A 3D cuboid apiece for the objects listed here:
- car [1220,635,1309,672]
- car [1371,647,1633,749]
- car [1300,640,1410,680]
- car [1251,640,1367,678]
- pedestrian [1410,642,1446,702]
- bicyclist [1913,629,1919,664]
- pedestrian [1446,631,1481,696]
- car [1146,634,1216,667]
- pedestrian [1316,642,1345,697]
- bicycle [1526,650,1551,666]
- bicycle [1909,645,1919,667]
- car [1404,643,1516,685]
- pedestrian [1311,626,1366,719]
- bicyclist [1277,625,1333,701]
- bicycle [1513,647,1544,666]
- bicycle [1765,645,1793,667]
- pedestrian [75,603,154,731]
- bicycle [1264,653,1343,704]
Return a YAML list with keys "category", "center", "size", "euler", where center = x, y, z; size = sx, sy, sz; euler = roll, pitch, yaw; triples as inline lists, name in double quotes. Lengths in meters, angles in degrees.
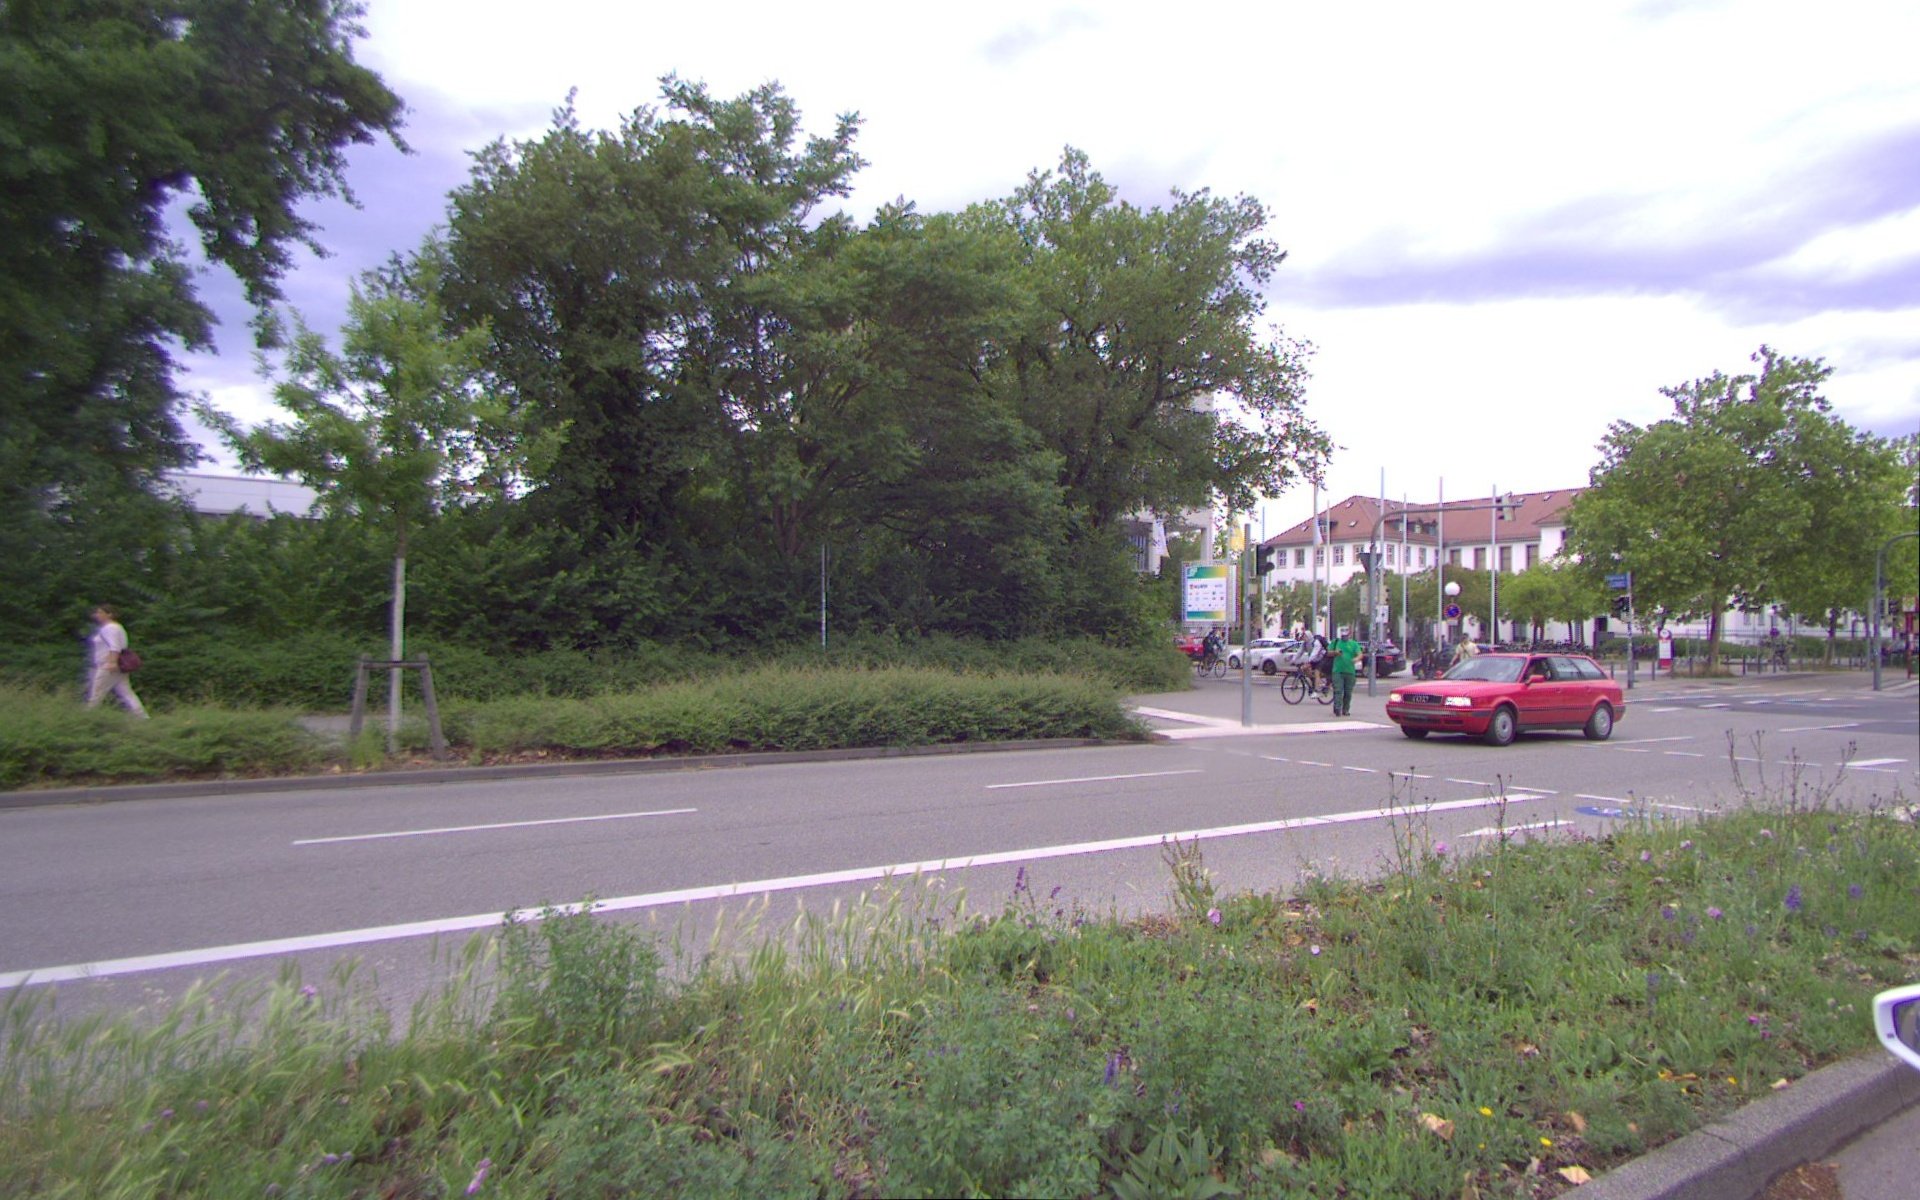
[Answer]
- category: "car"
  center: [14.380, 2.508, 47.580]
  size: [1.667, 1.560, 3.857]
  euler: [-1, 0, -32]
- category: "car"
  center: [8.835, 1.494, 16.311]
  size: [4.241, 1.437, 1.707]
  euler: [1, -2, -29]
- category: "car"
  center: [16.672, 2.499, 42.537]
  size: [4.006, 1.472, 1.613]
  euler: [-2, 3, 43]
- category: "car"
  center: [13.921, 2.343, 40.264]
  size: [1.695, 1.450, 4.182]
  euler: [1, -3, -38]
- category: "pedestrian"
  center: [12.771, 1.954, 27.434]
  size: [0.776, 1.578, 0.700]
  euler: [2, -4, 16]
- category: "bicyclist"
  center: [46.034, 2.226, 48.028]
  size: [0.581, 1.647, 0.488]
  euler: [0, 1, -30]
- category: "pedestrian"
  center: [14.336, 1.803, 28.567]
  size: [0.827, 1.761, 0.830]
  euler: [0, -5, 30]
- category: "car"
  center: [11.369, 2.552, 51.729]
  size: [1.547, 1.499, 3.322]
  euler: [1, 0, -36]
- category: "pedestrian"
  center: [10.938, 2.045, 29.610]
  size: [0.563, 1.545, 0.846]
  euler: [0, -6, 36]
- category: "bicycle"
  center: [32.662, 3.269, 56.683]
  size: [1.191, 0.892, 0.263]
  euler: [-2, -3, 38]
- category: "bicycle"
  center: [46.036, 2.678, 48.039]
  size: [1.571, 1.019, 0.485]
  euler: [0, 1, -31]
- category: "car"
  center: [19.571, 2.472, 39.434]
  size: [1.548, 1.240, 3.630]
  euler: [-7, 4, -35]
- category: "pedestrian"
  center: [7.563, 1.424, 20.116]
  size: [0.924, 1.782, 0.876]
  euler: [2, -1, 16]
- category: "bicyclist"
  center: [7.761, 1.411, 22.606]
  size: [0.947, 1.657, 0.665]
  euler: [2, -1, -22]
- category: "bicycle"
  center: [31.933, 3.192, 56.437]
  size: [1.385, 1.066, 0.586]
  euler: [-3, -3, 41]
- category: "bicycle"
  center: [40.991, 2.774, 50.284]
  size: [2.025, 1.074, 0.603]
  euler: [1, -3, -37]
- category: "pedestrian"
  center: [-11.340, 0.884, 13.494]
  size: [0.663, 1.657, 0.697]
  euler: [1, -3, -30]
- category: "bicycle"
  center: [7.728, 1.771, 22.598]
  size: [1.596, 1.076, 0.665]
  euler: [2, -1, -22]
